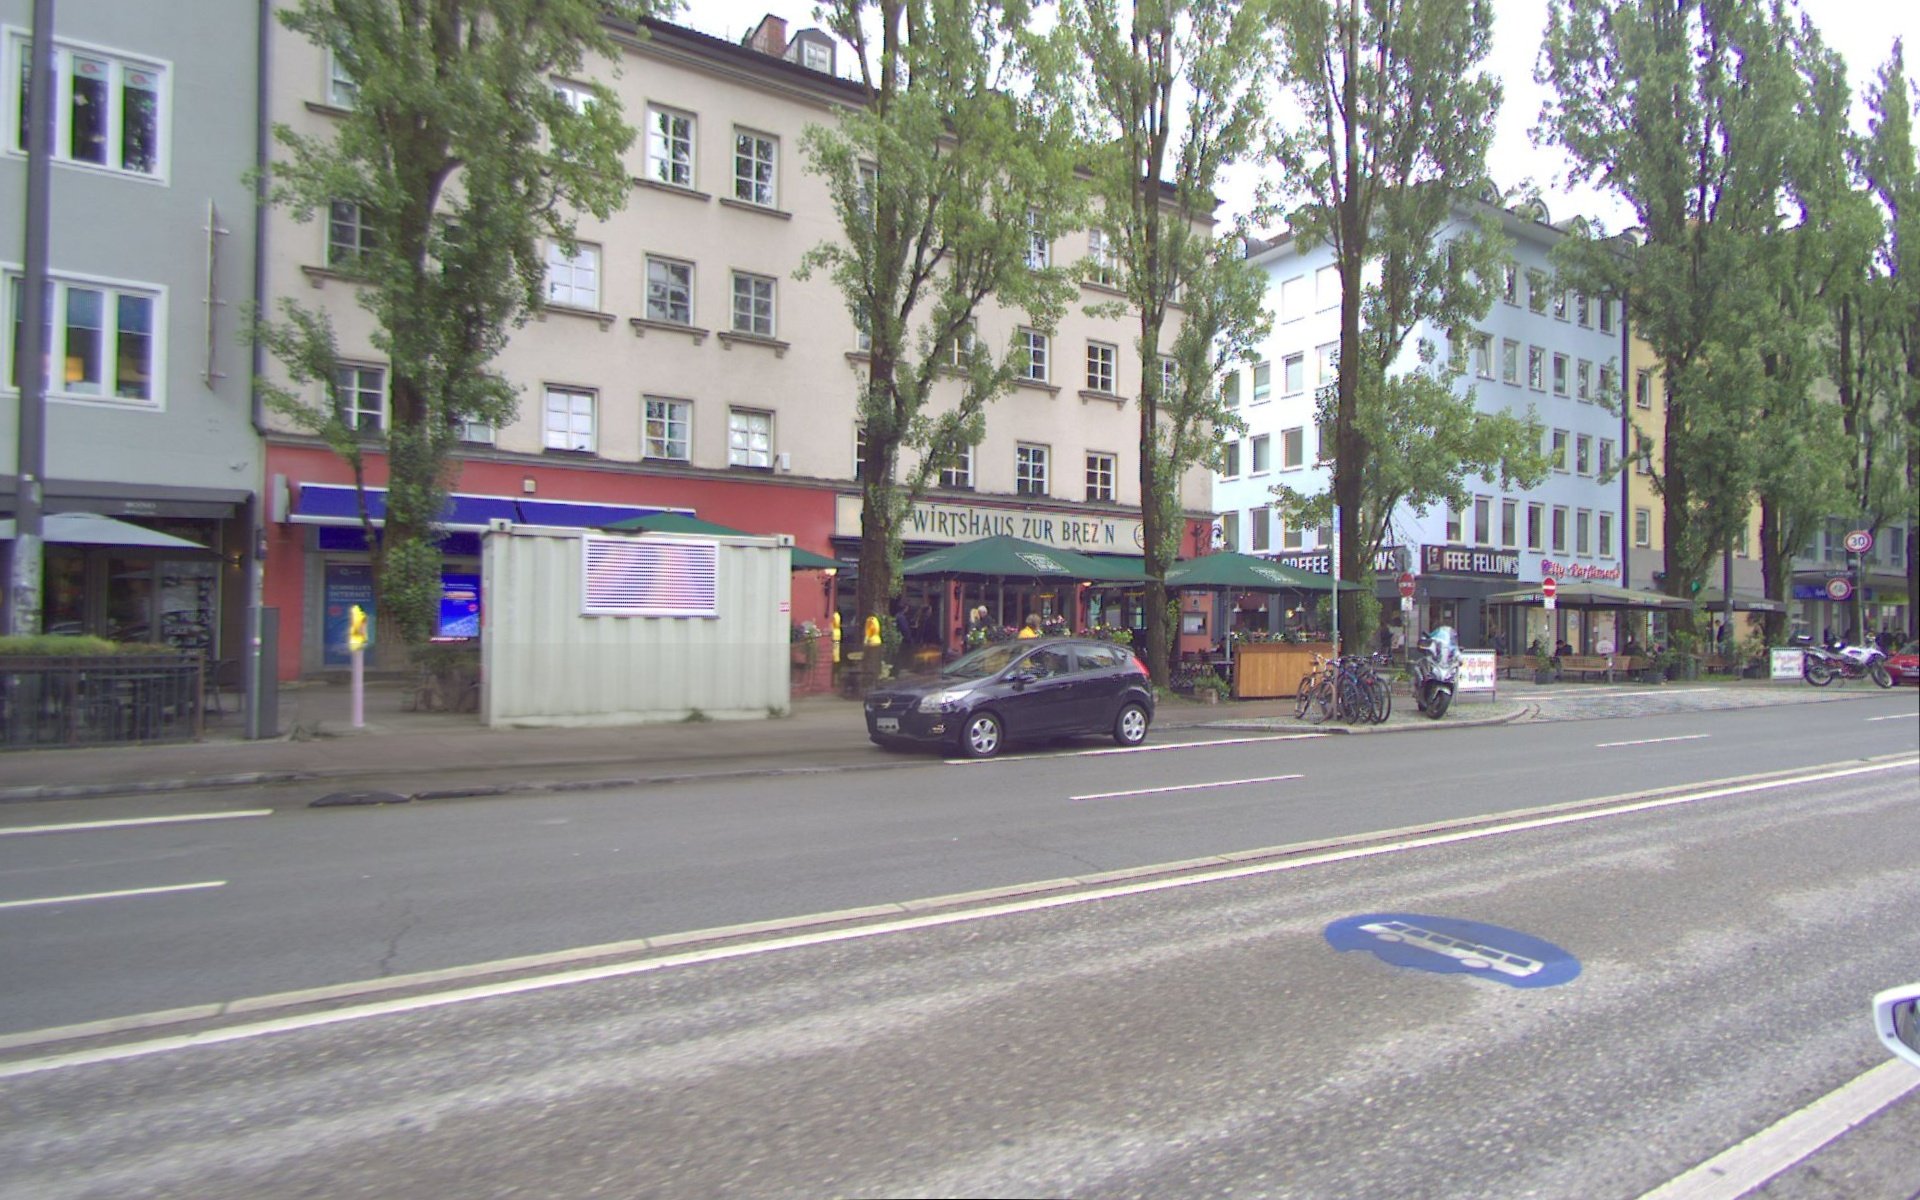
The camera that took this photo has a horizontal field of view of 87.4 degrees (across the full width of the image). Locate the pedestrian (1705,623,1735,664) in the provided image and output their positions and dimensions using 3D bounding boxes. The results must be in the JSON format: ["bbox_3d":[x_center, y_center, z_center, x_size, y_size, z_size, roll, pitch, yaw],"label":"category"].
[{"bbox_3d":[31.184,1.764,41.221,0.713,1.657,0.699,0,-1,-6],"label":"pedestrian"}]

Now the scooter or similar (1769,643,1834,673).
[{"bbox_3d":[30.534,2.101,36.471,0.417,1.040,1.763,1,-2,-32],"label":"scooter or similar"}]

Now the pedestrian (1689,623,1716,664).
[{"bbox_3d":[30.571,1.800,41.373,0.553,1.657,0.699,0,-1,-6],"label":"pedestrian"}]

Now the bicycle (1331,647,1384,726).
[{"bbox_3d":[6.541,1.394,16.604,0.277,1.140,1.983,2,0,7],"label":"bicycle"}]

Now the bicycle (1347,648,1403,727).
[{"bbox_3d":[6.816,1.403,16.571,0.277,1.140,1.983,2,0,7],"label":"bicycle"}]

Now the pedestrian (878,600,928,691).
[{"bbox_3d":[-1.270,1.002,22.199,0.894,1.952,0.695,1,-1,-28],"label":"pedestrian"}]

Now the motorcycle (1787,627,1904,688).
[{"bbox_3d":[24.315,1.564,27.632,2.301,1.584,0.715,1,0,18],"label":"motorcycle"}]

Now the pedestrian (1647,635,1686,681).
[{"bbox_3d":[21.534,1.765,30.617,0.838,1.380,0.694,1,-2,-31],"label":"pedestrian"}]

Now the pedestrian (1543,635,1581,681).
[{"bbox_3d":[18.481,1.780,30.834,0.808,1.380,0.695,1,-1,-27],"label":"pedestrian"}]

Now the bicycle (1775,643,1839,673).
[{"bbox_3d":[31.023,2.119,36.824,0.417,1.040,1.763,1,-2,-32],"label":"bicycle"}]

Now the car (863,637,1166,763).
[{"bbox_3d":[0.765,1.217,13.336,3.745,1.441,1.745,1,-3,-34],"label":"car"}]

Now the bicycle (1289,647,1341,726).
[{"bbox_3d":[5.806,1.381,16.511,0.335,1.140,1.983,2,0,7],"label":"bicycle"}]

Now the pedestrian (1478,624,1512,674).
[{"bbox_3d":[18.710,1.704,35.131,0.775,1.708,0.753,1,-1,-27],"label":"pedestrian"}]

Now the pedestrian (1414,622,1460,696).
[{"bbox_3d":[11.030,1.340,23.212,0.690,1.668,0.945,-1,-2,44],"label":"pedestrian"}]

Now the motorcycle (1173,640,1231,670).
[{"bbox_3d":[10.285,2.329,42.821,0.729,1.219,2.748,-1,-1,-29],"label":"motorcycle"}]

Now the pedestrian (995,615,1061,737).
[{"bbox_3d":[1.015,1.111,15.001,0.724,1.749,0.694,1,-2,-33],"label":"pedestrian"}]

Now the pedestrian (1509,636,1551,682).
[{"bbox_3d":[17.227,1.773,30.355,0.938,1.380,0.695,1,-2,-28],"label":"pedestrian"}]

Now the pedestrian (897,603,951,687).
[{"bbox_3d":[-0.769,0.949,21.445,0.938,1.745,0.695,1,-1,-28],"label":"pedestrian"}]

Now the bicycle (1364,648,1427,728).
[{"bbox_3d":[7.150,1.407,16.554,0.353,1.140,1.983,2,0,7],"label":"bicycle"}]

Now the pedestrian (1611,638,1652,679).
[{"bbox_3d":[20.225,1.738,30.239,0.692,1.198,0.811,1,-2,-32],"label":"pedestrian"}]

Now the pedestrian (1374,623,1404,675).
[{"bbox_3d":[15.320,1.736,35.866,0.933,1.796,0.699,0,-1,29],"label":"pedestrian"}]

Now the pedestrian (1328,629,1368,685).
[{"bbox_3d":[11.679,1.702,30.228,0.916,1.668,0.696,1,-1,-25],"label":"pedestrian"}]

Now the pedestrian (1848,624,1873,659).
[{"bbox_3d":[44.231,2.044,49.345,0.717,1.722,0.695,1,-1,-26],"label":"pedestrian"}]

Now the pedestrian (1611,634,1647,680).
[{"bbox_3d":[20.571,1.747,30.902,0.692,1.380,0.709,1,-2,-32],"label":"pedestrian"}]

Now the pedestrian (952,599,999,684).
[{"bbox_3d":[0.368,0.977,23.691,0.894,1.952,0.695,1,-1,-28],"label":"pedestrian"}]

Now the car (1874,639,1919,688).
[{"bbox_3d":[29.856,1.906,30.689,4.100,1.438,1.729,1,-3,-31],"label":"car"}]

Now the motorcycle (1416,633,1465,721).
[{"bbox_3d":[8.502,1.304,17.768,0.732,1.433,2.452,0,-2,26],"label":"motorcycle"}]
